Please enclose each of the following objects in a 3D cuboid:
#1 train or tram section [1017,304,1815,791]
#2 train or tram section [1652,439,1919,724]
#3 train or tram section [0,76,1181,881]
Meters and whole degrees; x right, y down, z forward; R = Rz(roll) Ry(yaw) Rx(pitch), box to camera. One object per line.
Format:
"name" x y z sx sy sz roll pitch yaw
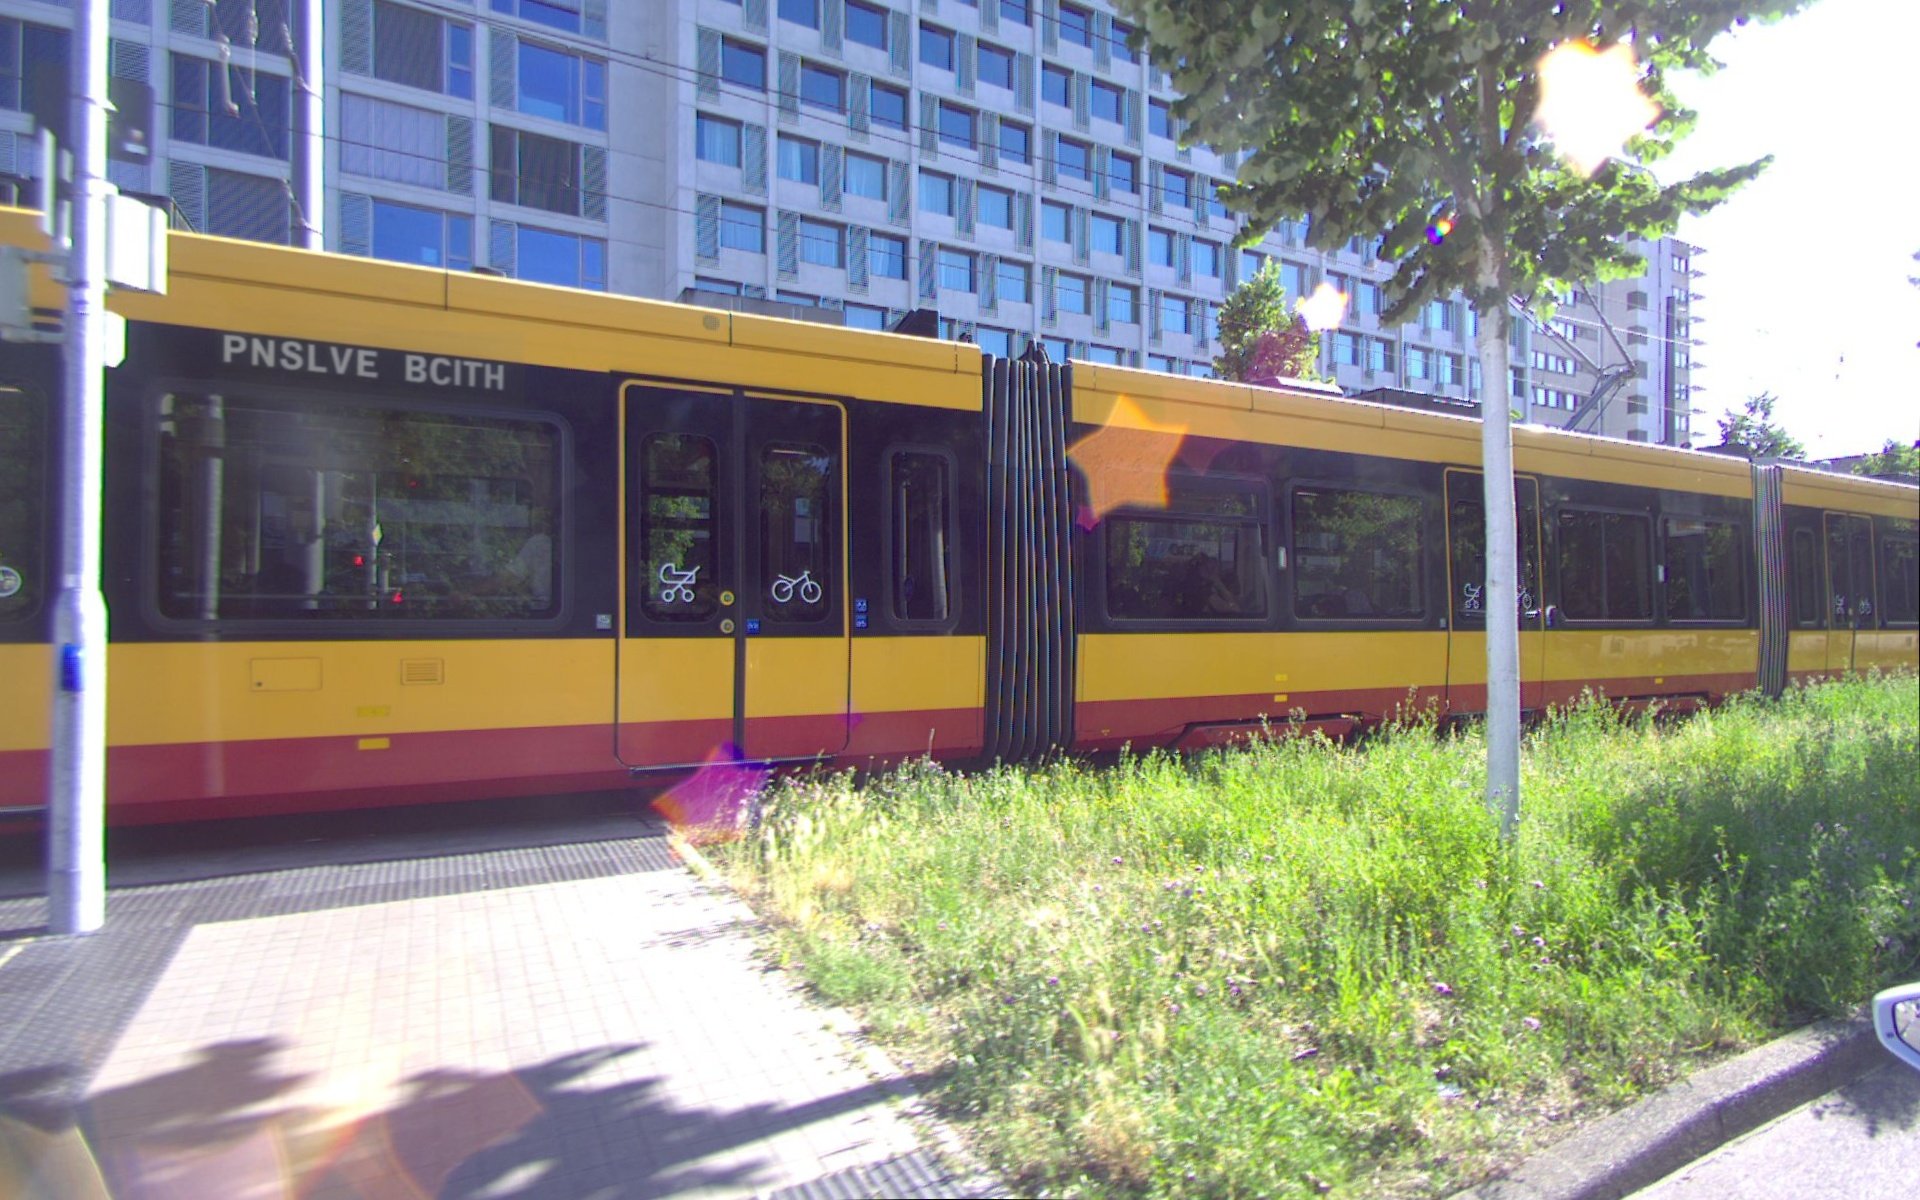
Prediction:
"train or tram section" 5.888 -0.317 11.313 11.180 3.718 1.984 1 0 -30
"train or tram section" 15.773 -0.157 16.821 11.541 3.718 1.985 1 0 -29
"train or tram section" -5.000 -0.563 5.468 13.966 3.718 1.987 1 0 -27
